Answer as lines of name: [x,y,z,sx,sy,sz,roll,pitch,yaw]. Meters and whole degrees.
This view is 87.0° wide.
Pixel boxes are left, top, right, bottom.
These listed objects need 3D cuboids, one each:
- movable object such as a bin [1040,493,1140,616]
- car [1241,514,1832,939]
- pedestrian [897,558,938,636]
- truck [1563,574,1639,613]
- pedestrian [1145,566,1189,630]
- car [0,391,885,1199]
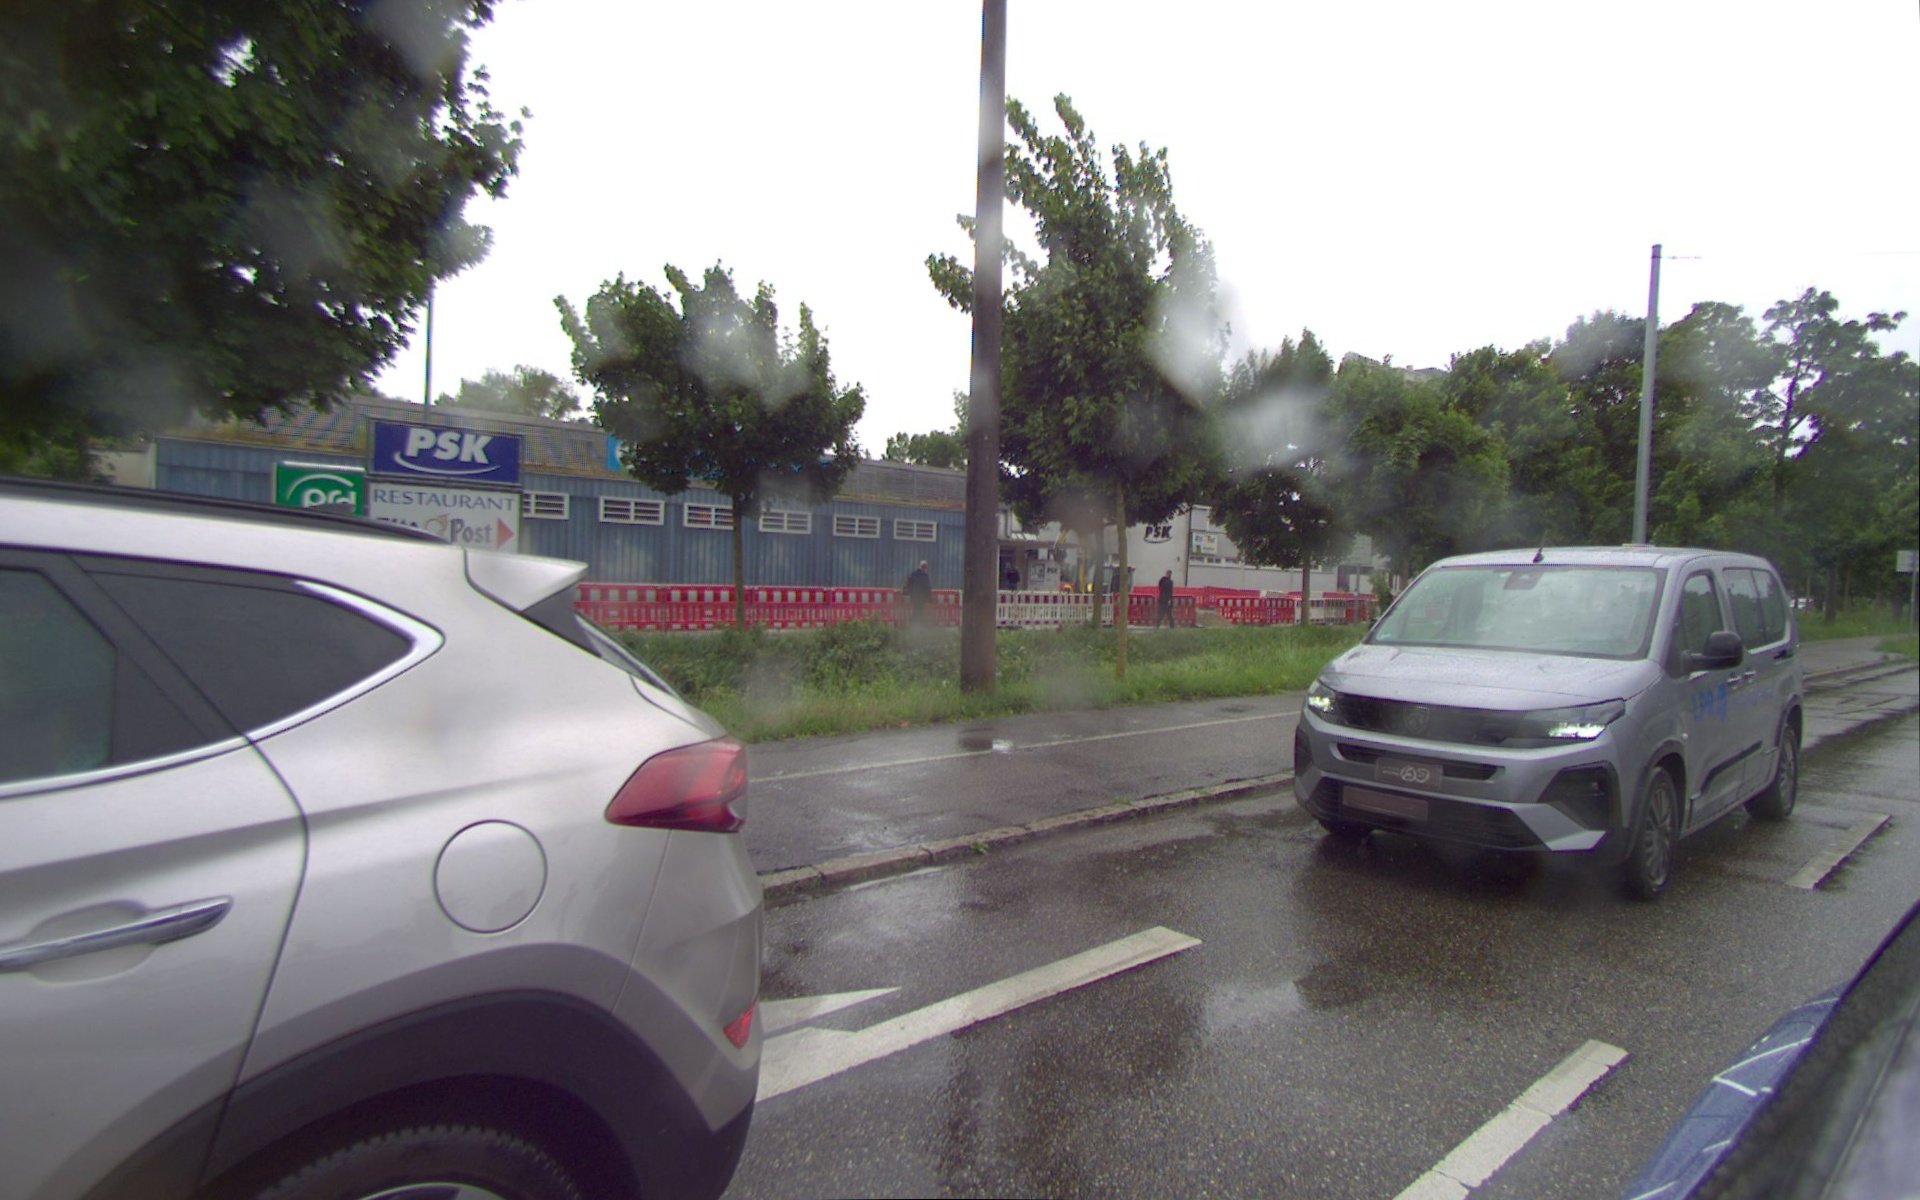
movable object such as a bin: [4.985,-1.671,38.554,3.839,4.482,1.557,0,0,-39]
car: [3.960,0.522,6.578,4.483,1.818,1.997,0,1,-41]
pedestrian: [-1.071,-0.075,25.312,0.861,1.920,0.580,0,0,-41]
truck: [50.430,-0.536,79.498,8.599,2.935,2.808,0,0,-42]
pedestrian: [6.486,-0.055,31.708,1.192,1.960,0.814,0,0,-42]
car: [-2.315,0.579,1.338,4.121,1.630,1.888,-1,1,-40]
